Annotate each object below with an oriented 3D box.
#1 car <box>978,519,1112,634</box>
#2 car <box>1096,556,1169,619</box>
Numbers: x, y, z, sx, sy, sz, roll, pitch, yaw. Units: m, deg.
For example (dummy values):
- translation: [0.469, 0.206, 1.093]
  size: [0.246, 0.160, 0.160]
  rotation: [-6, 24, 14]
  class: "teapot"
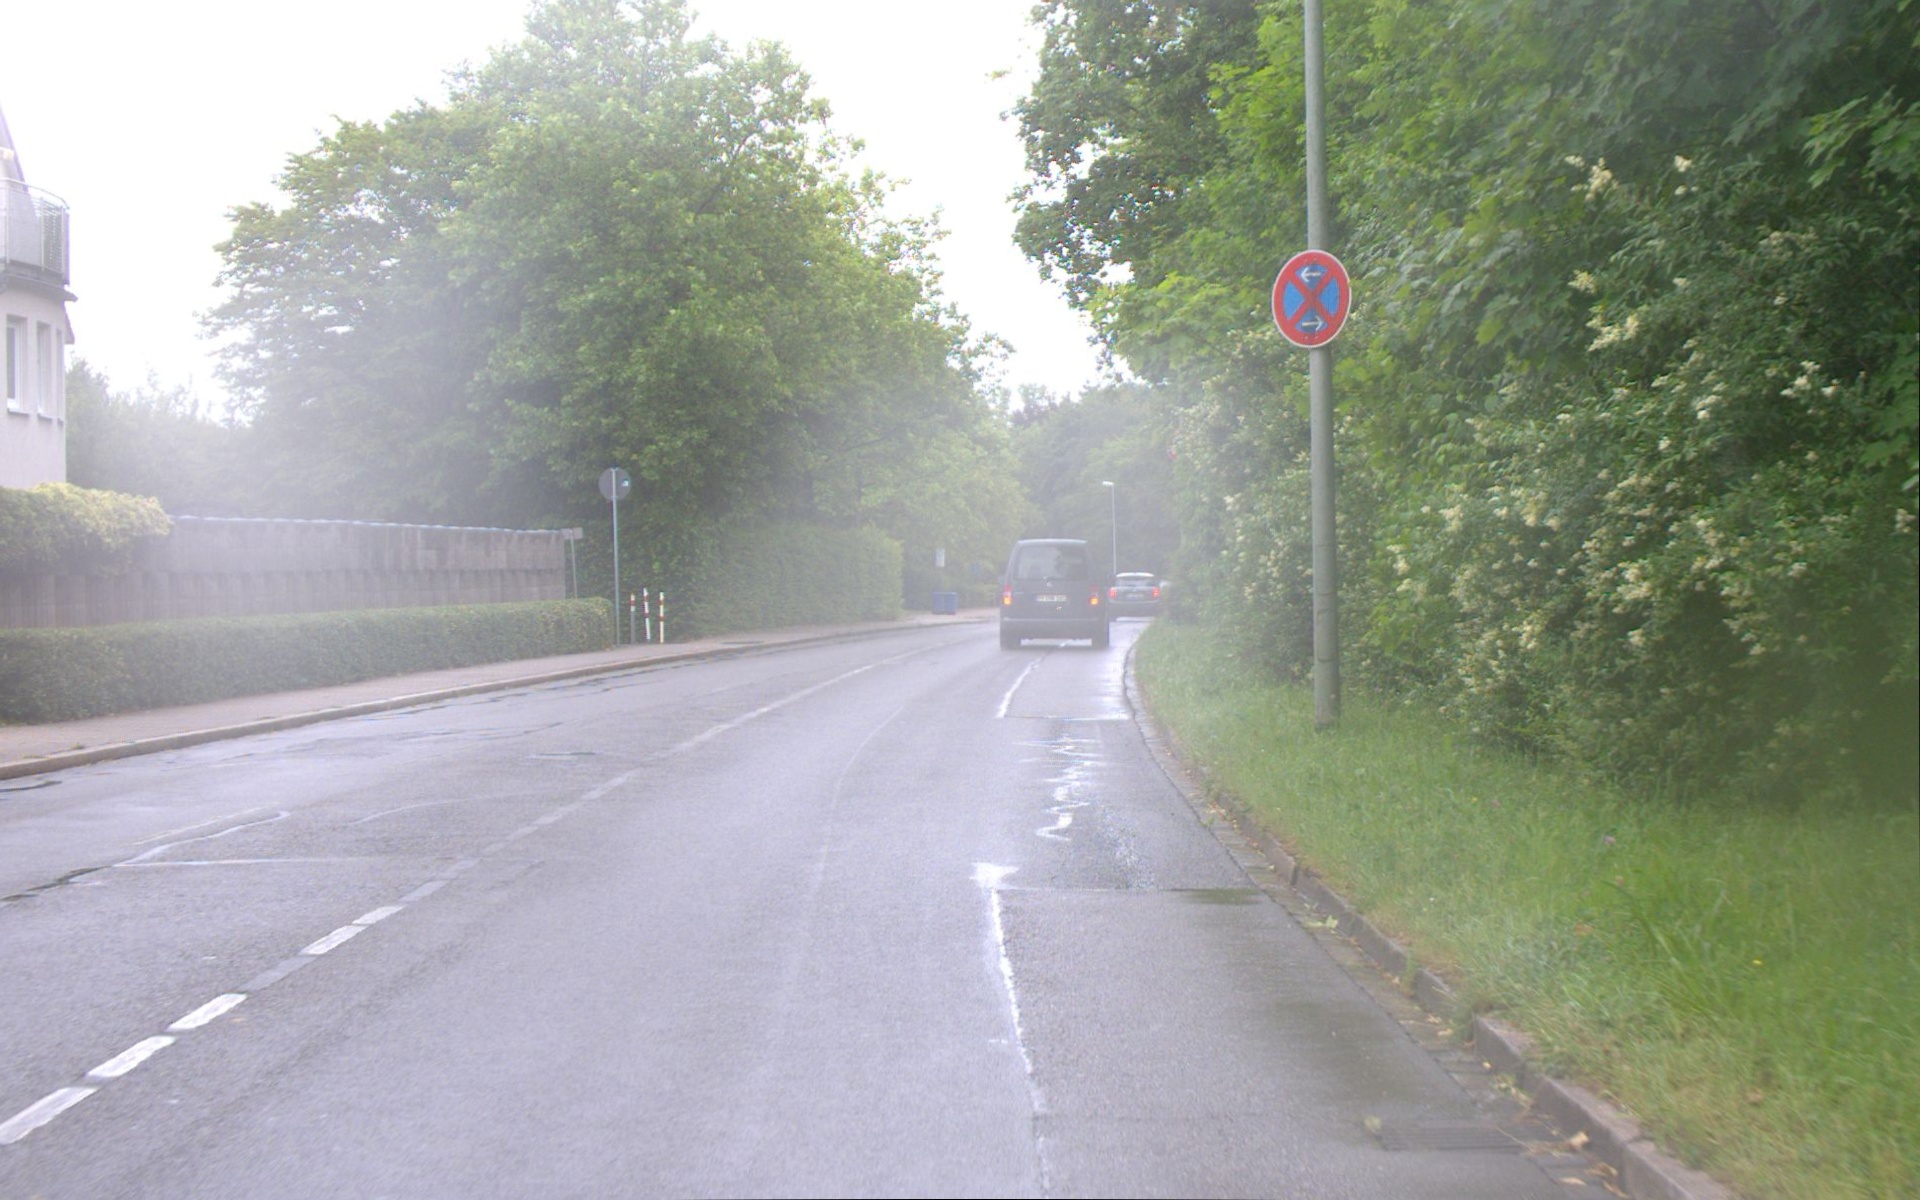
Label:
- translation: [1.478, -0.427, 58.319]
  size: [1.994, 1.787, 4.000]
  rotation: [2, 2, 5]
  class: "car"
- translation: [5.182, -0.383, 103.084]
  size: [1.950, 1.744, 3.999]
  rotation: [-1, 1, 6]
  class: "car"
